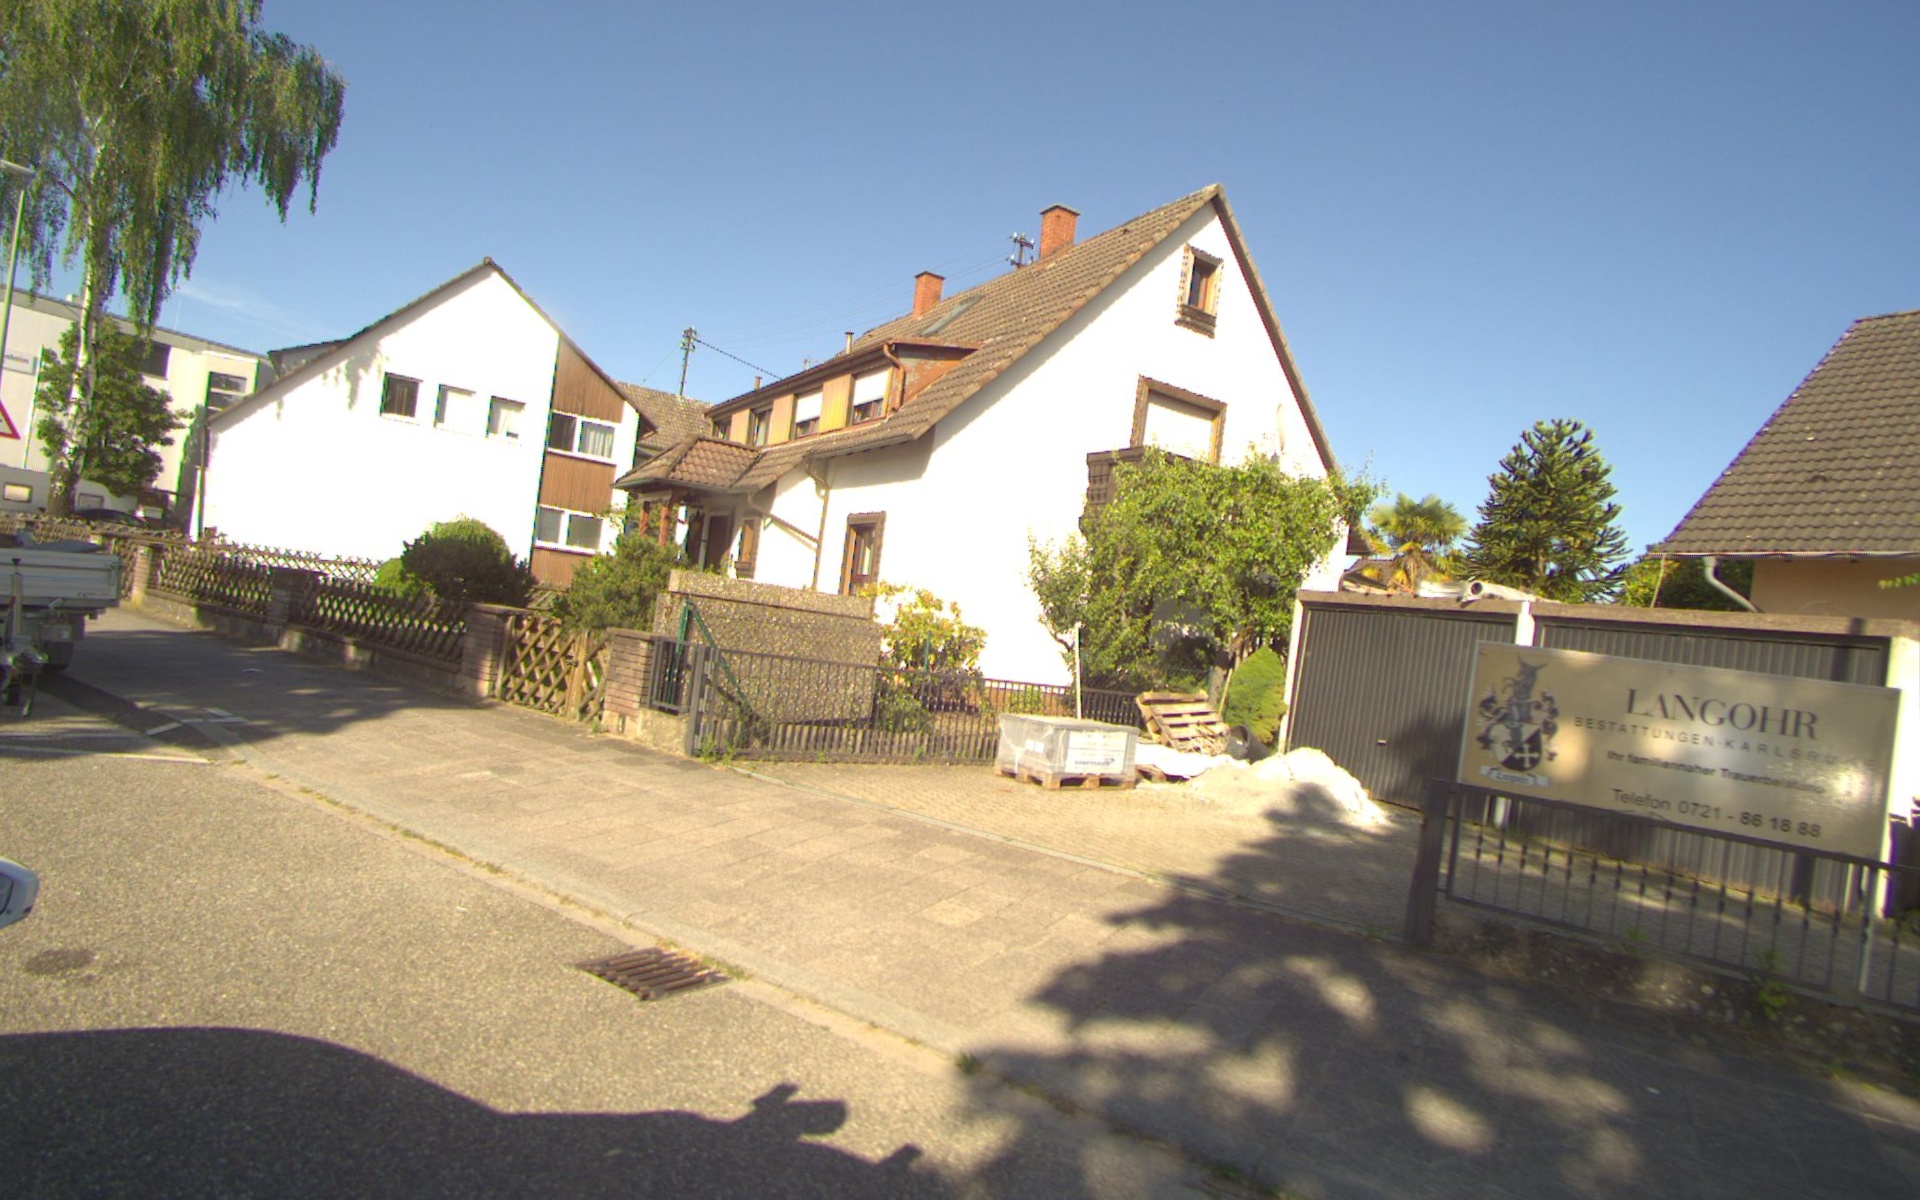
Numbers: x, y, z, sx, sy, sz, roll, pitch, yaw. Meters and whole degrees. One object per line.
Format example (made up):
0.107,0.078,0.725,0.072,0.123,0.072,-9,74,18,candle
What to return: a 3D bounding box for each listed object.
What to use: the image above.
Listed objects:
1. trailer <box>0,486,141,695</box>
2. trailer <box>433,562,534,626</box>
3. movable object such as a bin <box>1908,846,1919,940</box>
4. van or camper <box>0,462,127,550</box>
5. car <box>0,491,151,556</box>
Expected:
-8.530,-0.233,8.411,3.146,1.556,1.629,7,-1,33,trailer
-10.087,-0.140,21.421,1.632,1.084,2.176,8,-1,-20,trailer
7.483,2.011,7.450,0.499,1.109,0.454,8,0,-30,movable object such as a bin
-33.205,-3.437,35.362,2.246,2.571,5.838,7,-1,8,van or camper
-30.597,-2.603,34.630,1.776,1.637,4.004,7,-1,9,car
